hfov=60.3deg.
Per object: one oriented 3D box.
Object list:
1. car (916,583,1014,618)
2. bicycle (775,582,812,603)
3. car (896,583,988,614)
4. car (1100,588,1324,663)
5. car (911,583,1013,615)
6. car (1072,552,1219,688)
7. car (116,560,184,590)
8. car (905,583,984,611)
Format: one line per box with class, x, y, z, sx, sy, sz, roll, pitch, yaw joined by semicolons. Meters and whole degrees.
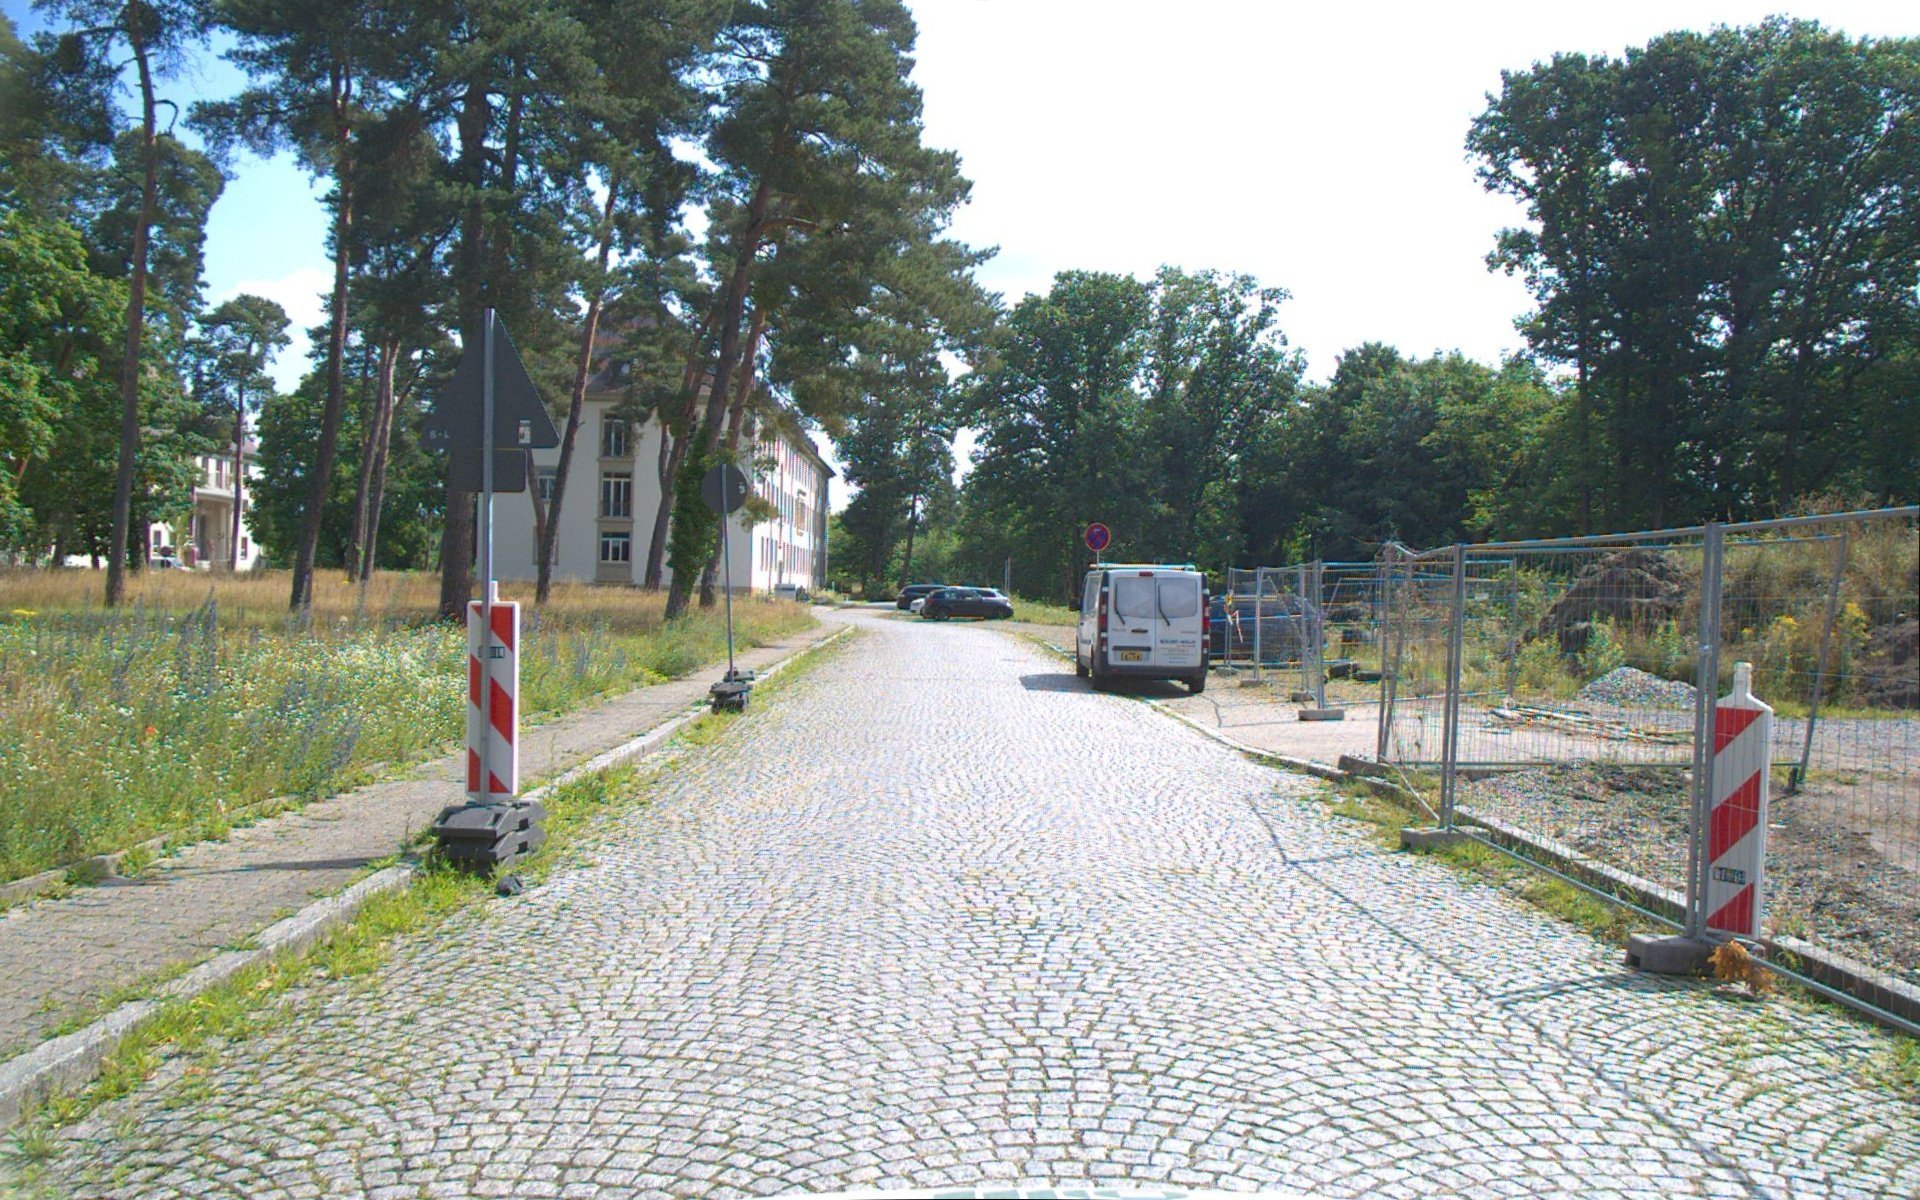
car;0.217;0.012;75.987;4.245;1.526;1.826;0;1;-10
bicycle;-10.387;-0.479;103.269;2.176;1.282;0.623;1;0;1
car;-0.957;-0.091;86.402;4.755;1.580;1.879;0;0;-3
car;5.237;0.508;34.661;4.367;1.501;1.744;0;0;-6
car;0.070;-0.050;79.076;4.765;1.498;1.874;0;1;-3
car;3.090;0.299;28.670;1.875;2.089;5.678;1;0;0
car;-57.792;-1.778;118.036;3.976;2.026;1.713;1;0;-1
car;-0.862;-0.159;91.720;4.310;1.510;1.765;0;0;-3
